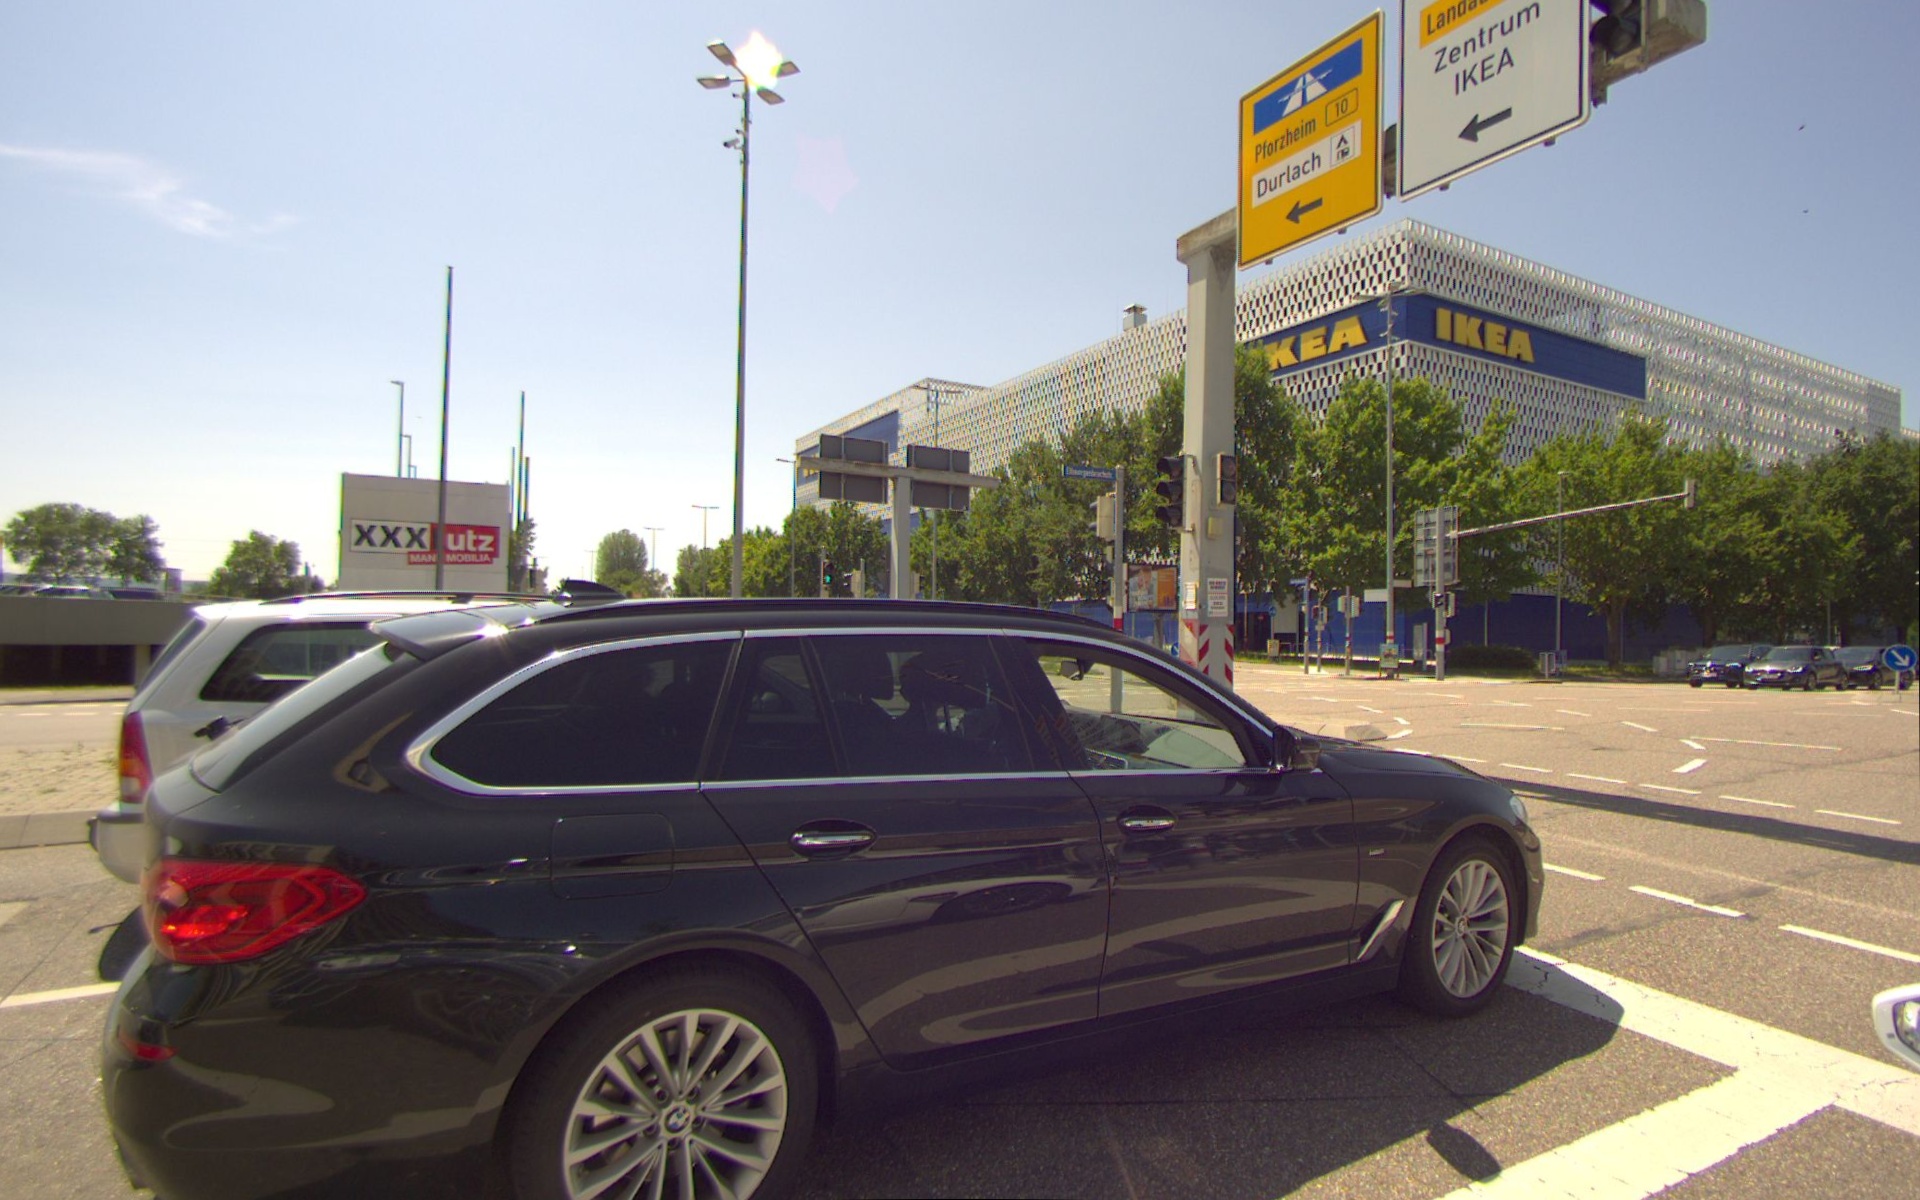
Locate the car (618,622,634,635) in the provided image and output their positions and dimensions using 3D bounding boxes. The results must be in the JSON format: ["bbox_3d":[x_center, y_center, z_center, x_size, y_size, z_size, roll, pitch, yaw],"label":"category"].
[{"bbox_3d":[-49.583,4.211,149.045,1.609,1.938,3.471,2,-2,-30],"label":"car"}]

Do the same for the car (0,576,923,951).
[{"bbox_3d":[-2.350,0.656,5.550,3.959,1.441,1.685,1,0,-29],"label":"car"}]

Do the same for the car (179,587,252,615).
[{"bbox_3d":[-57.947,0.105,78.284,4.278,2.040,1.985,2,-2,-30],"label":"car"}]

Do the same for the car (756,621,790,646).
[{"bbox_3d":[-15.458,2.765,82.962,1.750,2.040,3.813,1,-2,-26],"label":"car"}]

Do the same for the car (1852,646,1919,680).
[{"bbox_3d":[42.669,2.887,45.994,3.870,1.505,1.642,3,-3,-31],"label":"car"}]

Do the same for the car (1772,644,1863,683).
[{"bbox_3d":[35.641,2.648,41.737,3.870,1.564,1.718,3,-3,-31],"label":"car"}]

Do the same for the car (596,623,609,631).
[{"bbox_3d":[-60.616,4.551,170.297,1.608,1.368,3.472,2,-2,-29],"label":"car"}]

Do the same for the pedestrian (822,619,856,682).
[{"bbox_3d":[-3.538,1.469,29.282,0.816,1.807,0.601,2,-2,-27],"label":"pedestrian"}]

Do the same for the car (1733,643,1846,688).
[{"bbox_3d":[27.172,2.167,32.895,3.671,1.407,1.637,3,-4,-30],"label":"car"}]

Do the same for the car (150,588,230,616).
[{"bbox_3d":[-52.552,0.147,68.630,4.086,1.764,1.770,2,-2,-30],"label":"car"}]

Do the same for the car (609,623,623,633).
[{"bbox_3d":[-55.467,4.551,161.906,1.608,1.629,3.471,2,-2,-29],"label":"car"}]

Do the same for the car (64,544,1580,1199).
[{"bbox_3d":[0.059,0.710,3.539,4.505,1.459,1.788,2,-1,-31],"label":"car"}]

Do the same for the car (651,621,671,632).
[{"bbox_3d":[-43.005,3.814,144.363,1.976,1.572,3.970,2,-2,-29],"label":"car"}]

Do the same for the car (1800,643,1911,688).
[{"bbox_3d":[32.358,2.378,36.272,4.193,1.524,1.719,3,-4,-30],"label":"car"}]

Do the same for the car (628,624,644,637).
[{"bbox_3d":[-46.361,4.311,143.616,1.607,1.835,3.474,1,-2,-27],"label":"car"}]

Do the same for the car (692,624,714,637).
[{"bbox_3d":[-34.766,4.118,135.853,2.031,1.769,3.860,2,-2,-29],"label":"car"}]

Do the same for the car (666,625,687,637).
[{"bbox_3d":[-38.398,4.243,136.216,1.975,1.572,3.972,2,-2,-27],"label":"car"}]

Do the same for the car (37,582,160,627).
[{"bbox_3d":[-42.116,0.264,49.274,4.285,2.040,1.981,2,-2,-34],"label":"car"}]

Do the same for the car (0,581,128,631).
[{"bbox_3d":[-39.588,0.285,44.218,4.284,2.040,1.982,2,-2,-34],"label":"car"}]

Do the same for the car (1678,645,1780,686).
[{"bbox_3d":[28.703,2.448,37.470,3.992,1.442,1.653,3,-3,-31],"label":"car"}]

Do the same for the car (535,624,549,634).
[{"bbox_3d":[-69.528,4.781,167.122,1.836,1.528,3.971,2,-2,-28],"label":"car"}]

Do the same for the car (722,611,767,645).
[{"bbox_3d":[-14.737,1.914,68.496,1.973,2.212,5.019,1,-2,-25],"label":"car"}]
